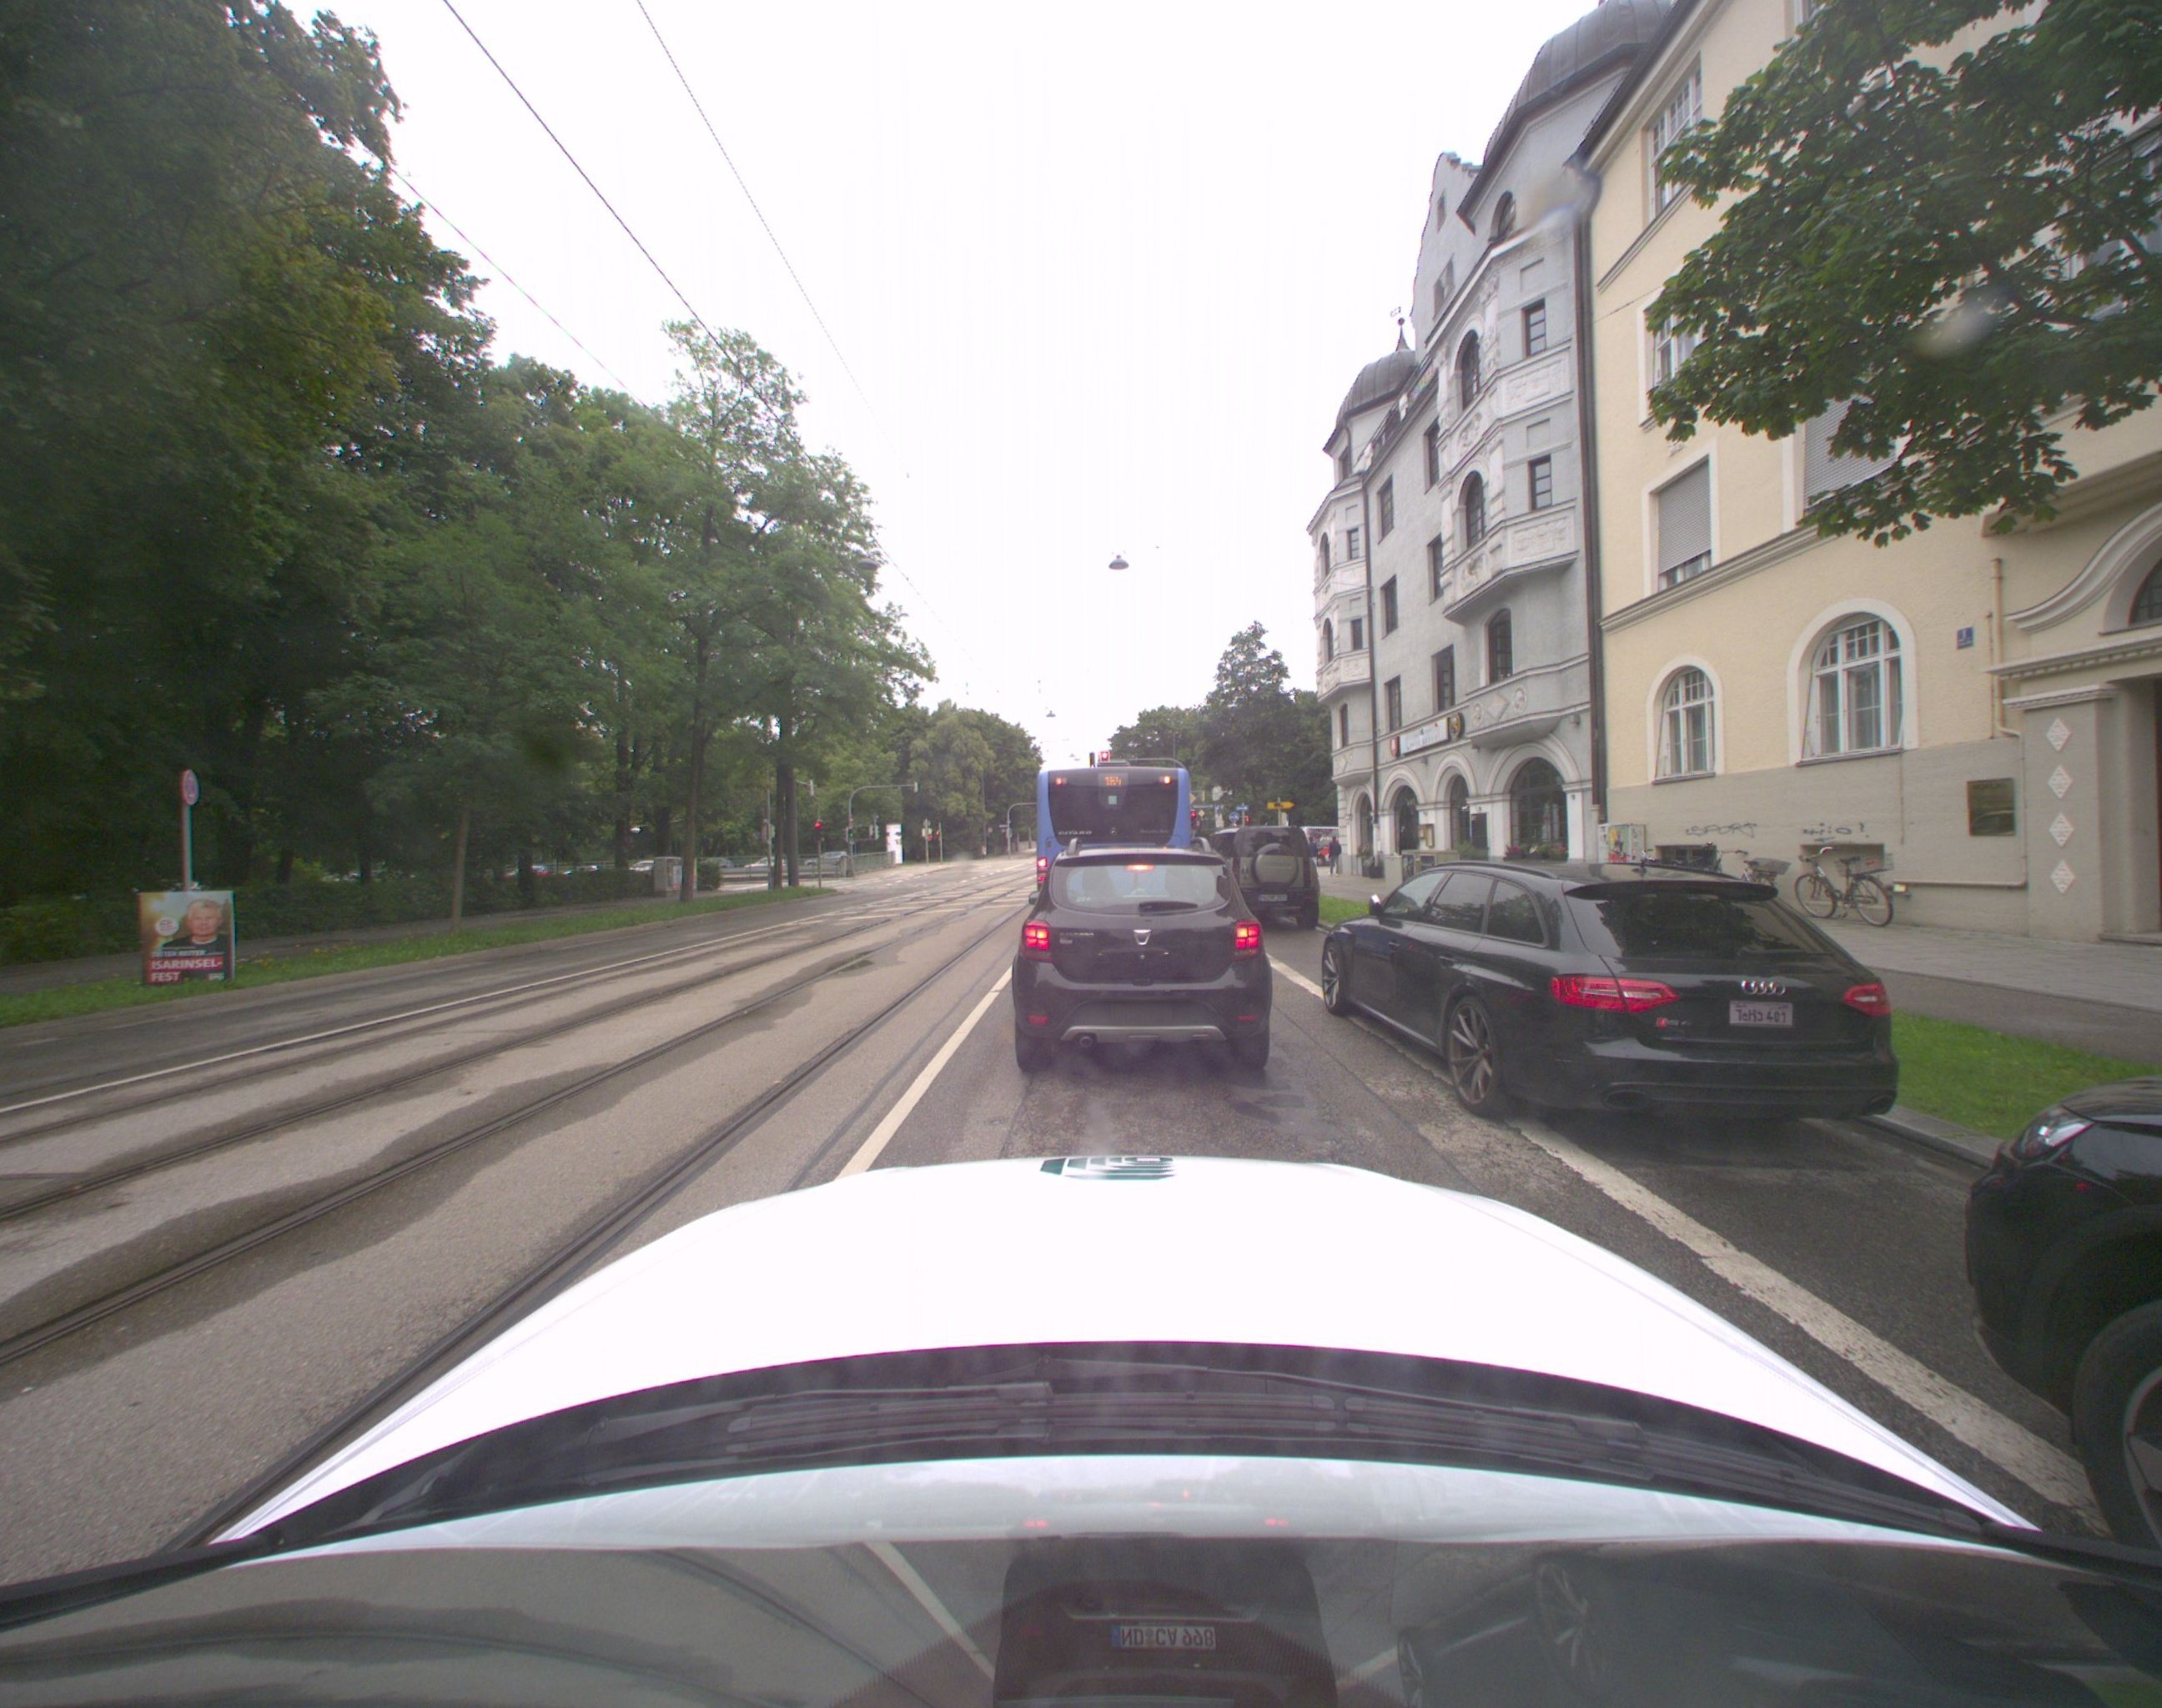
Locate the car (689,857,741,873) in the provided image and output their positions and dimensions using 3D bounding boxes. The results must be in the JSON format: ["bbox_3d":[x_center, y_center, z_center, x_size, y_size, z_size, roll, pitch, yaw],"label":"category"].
[{"bbox_3d":[-32.980,1.007,73.391,3.915,1.404,1.719,0,0,-3],"label":"car"}]

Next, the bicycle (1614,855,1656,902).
[{"bbox_3d":[11.253,0.484,16.549,0.289,0.930,0.886,0,0,3],"label":"bicycle"}]

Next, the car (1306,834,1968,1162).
[{"bbox_3d":[3.058,0.626,5.853,1.709,1.426,4.603,0,0,1],"label":"car"}]

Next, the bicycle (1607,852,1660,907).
[{"bbox_3d":[10.811,0.483,15.968,0.241,1.039,1.224,0,0,2],"label":"bicycle"}]

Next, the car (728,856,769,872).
[{"bbox_3d":[-29.921,0.878,73.340,3.103,1.452,1.249,0,0,-4],"label":"car"}]

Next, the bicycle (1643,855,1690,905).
[{"bbox_3d":[11.189,0.488,15.589,0.304,0.930,0.886,0,0,4],"label":"bicycle"}]

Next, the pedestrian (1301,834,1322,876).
[{"bbox_3d":[10.218,0.037,36.113,0.702,1.816,0.870,0,0,2],"label":"pedestrian"}]

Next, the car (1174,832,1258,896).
[{"bbox_3d":[3.575,0.242,22.240,1.708,1.591,4.329,0,0,2],"label":"car"}]

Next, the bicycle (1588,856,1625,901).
[{"bbox_3d":[11.282,0.520,17.486,0.258,0.930,0.886,0,0,3],"label":"bicycle"}]

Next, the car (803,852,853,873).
[{"bbox_3d":[-22.944,0.727,73.921,4.015,1.887,1.488,0,0,-5],"label":"car"}]

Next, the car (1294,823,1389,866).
[{"bbox_3d":[16.288,-0.602,51.187,5.281,2.612,2.229,0,0,-2],"label":"car"}]

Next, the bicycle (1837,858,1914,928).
[{"bbox_3d":[10.987,0.519,11.285,0.220,0.930,0.886,0,0,1],"label":"bicycle"}]

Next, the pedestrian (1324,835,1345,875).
[{"bbox_3d":[11.113,0.043,35.687,0.702,1.732,0.843,0,0,2],"label":"pedestrian"}]

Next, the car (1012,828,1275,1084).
[{"bbox_3d":[0.422,0.619,6.722,1.595,1.556,3.526,0,0,1],"label":"car"}]

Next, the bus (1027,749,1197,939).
[{"bbox_3d":[0.500,-0.161,16.321,2.670,2.997,6.960,0,0,0],"label":"bus"}]

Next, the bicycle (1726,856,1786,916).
[{"bbox_3d":[10.998,0.505,13.285,0.284,0.930,0.886,0,0,3],"label":"bicycle"}]

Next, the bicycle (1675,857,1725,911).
[{"bbox_3d":[11.098,0.529,14.620,0.271,0.930,0.886,0,0,3],"label":"bicycle"}]

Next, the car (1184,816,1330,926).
[{"bbox_3d":[3.362,0.295,16.533,1.908,1.905,4.807,0,0,0],"label":"car"}]

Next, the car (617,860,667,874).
[{"bbox_3d":[-39.425,1.151,73.129,3.720,1.185,1.249,0,0,-4],"label":"car"}]

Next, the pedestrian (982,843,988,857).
[{"bbox_3d":[-10.052,-0.404,85.105,0.529,1.501,0.589,0,0,6],"label":"pedestrian"}]
